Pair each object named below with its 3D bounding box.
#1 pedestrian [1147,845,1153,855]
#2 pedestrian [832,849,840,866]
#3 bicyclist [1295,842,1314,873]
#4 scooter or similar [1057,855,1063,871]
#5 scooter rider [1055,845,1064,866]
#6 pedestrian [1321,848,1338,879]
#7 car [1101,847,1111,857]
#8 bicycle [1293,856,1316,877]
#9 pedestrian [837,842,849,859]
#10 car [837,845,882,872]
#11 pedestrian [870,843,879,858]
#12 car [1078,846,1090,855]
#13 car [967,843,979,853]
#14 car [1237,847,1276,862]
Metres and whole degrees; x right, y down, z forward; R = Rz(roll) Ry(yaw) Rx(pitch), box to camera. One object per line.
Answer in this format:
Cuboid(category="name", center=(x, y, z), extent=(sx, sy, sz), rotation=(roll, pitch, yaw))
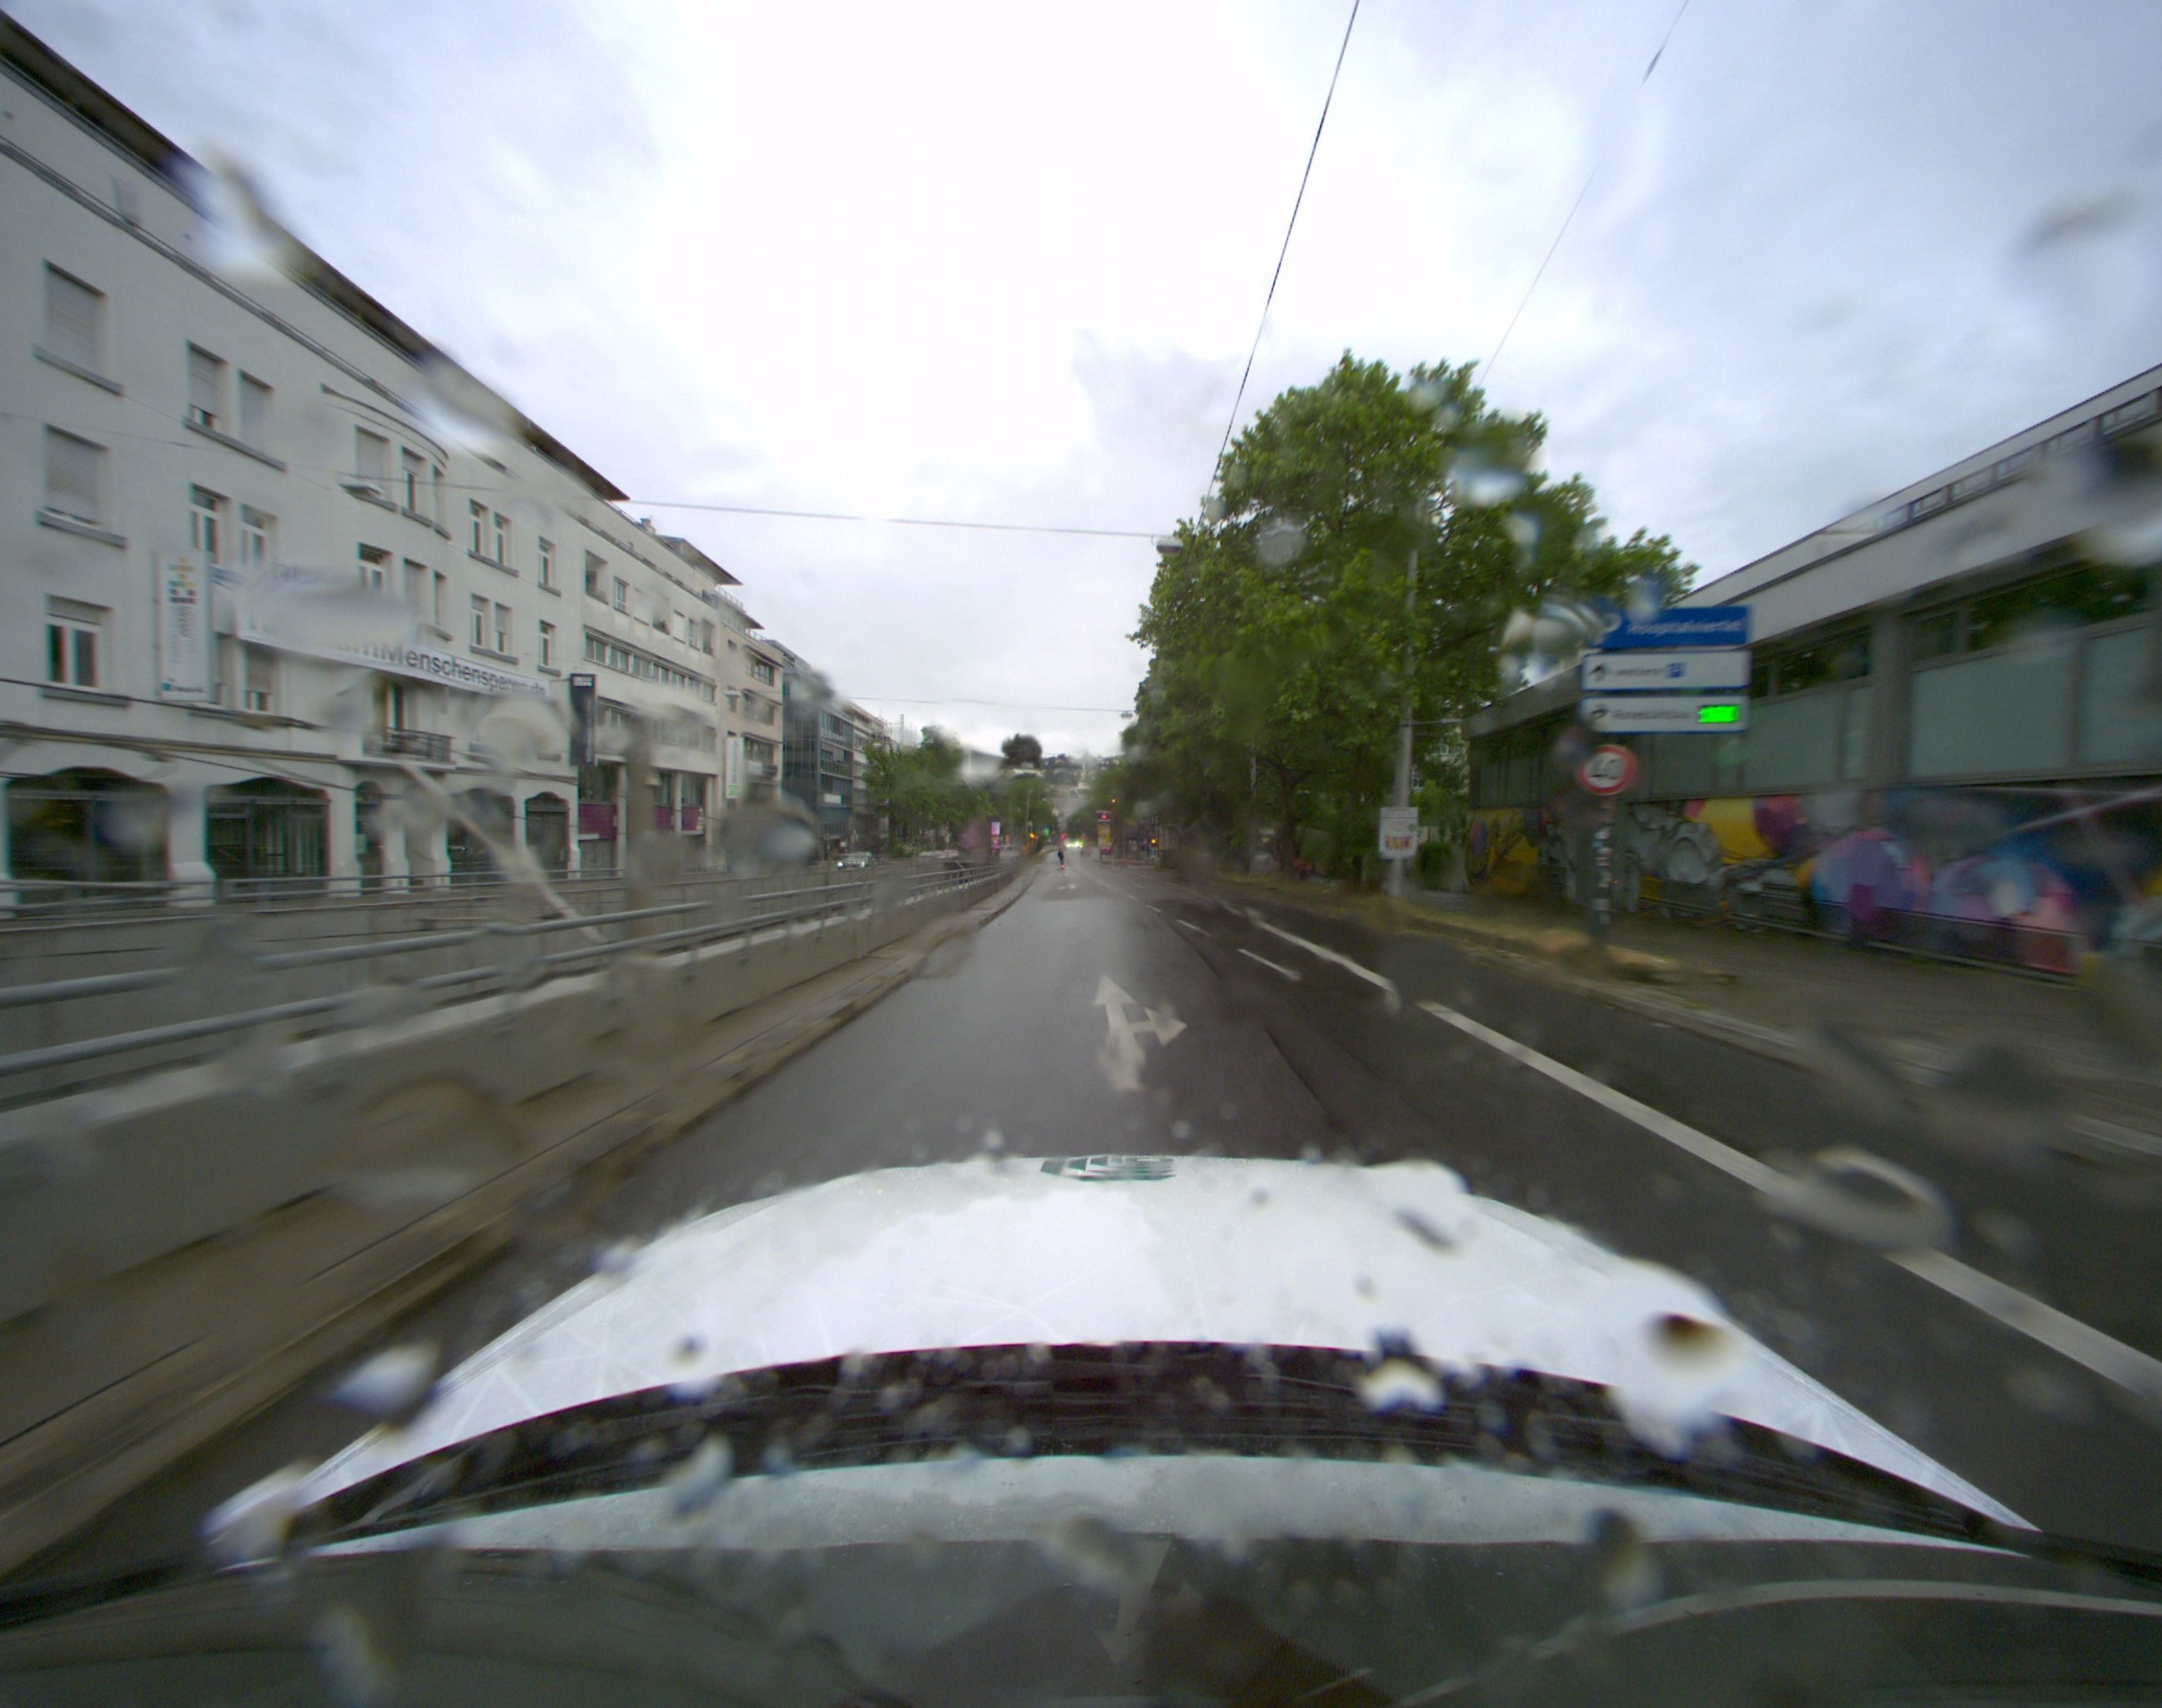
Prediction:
Cuboid(category="pedestrian", center=(10.634, -0.609, 125.375), extent=(0.783, 1.557, 0.532), rotation=(1, 0, 0))
Cuboid(category="pedestrian", center=(-24.776, 0.364, 82.398), extent=(0.663, 1.671, 0.487), rotation=(0, 0, -3))
Cuboid(category="bicyclist", center=(11.975, 0.173, 43.613), extent=(0.803, 1.628, 1.048), rotation=(0, 0, 5))
Cuboid(category="scooter or similar", center=(-2.022, 0.865, 77.997), extent=(0.545, 1.418, 1.953), rotation=(1, 0, -3))
Cuboid(category="scooter rider", center=(-2.090, 0.119, 78.344), extent=(0.807, 1.948, 0.821), rotation=(1, 0, -3))
Cuboid(category="pedestrian", center=(15.509, 0.585, 50.841), extent=(0.802, 1.864, 1.058), rotation=(-1, 0, 7))
Cuboid(category="car", center=(4.609, -0.361, 148.885), extent=(1.894, 1.684, 3.913), rotation=(1, 0, 2))
Cuboid(category="bicycle", center=(11.972, 0.671, 43.698), extent=(0.803, 1.112, 2.201), rotation=(0, 0, 5))
Cuboid(category="pedestrian", center=(-25.926, -0.389, 88.611), extent=(0.857, 1.868, 0.964), rotation=(1, 0, 16))
Cuboid(category="car", center=(-14.944, 0.281, 55.196), extent=(1.831, 1.713, 4.576), rotation=(0, 1, 0))
Cuboid(category="pedestrian", center=(-25.915, -0.430, 102.262), extent=(0.875, 1.868, 0.866), rotation=(2, 0, -3))
Cuboid(category="car", center=(0.474, -0.559, 133.848), extent=(1.741, 1.519, 4.103), rotation=(1, 0, -2))
Cuboid(category="car", center=(-19.612, -1.069, 147.708), extent=(1.776, 1.555, 3.890), rotation=(1, 2, -3))
Cuboid(category="car", center=(20.584, 0.090, 95.475), extent=(4.367, 1.684, 1.736), rotation=(1, 0, -27))
